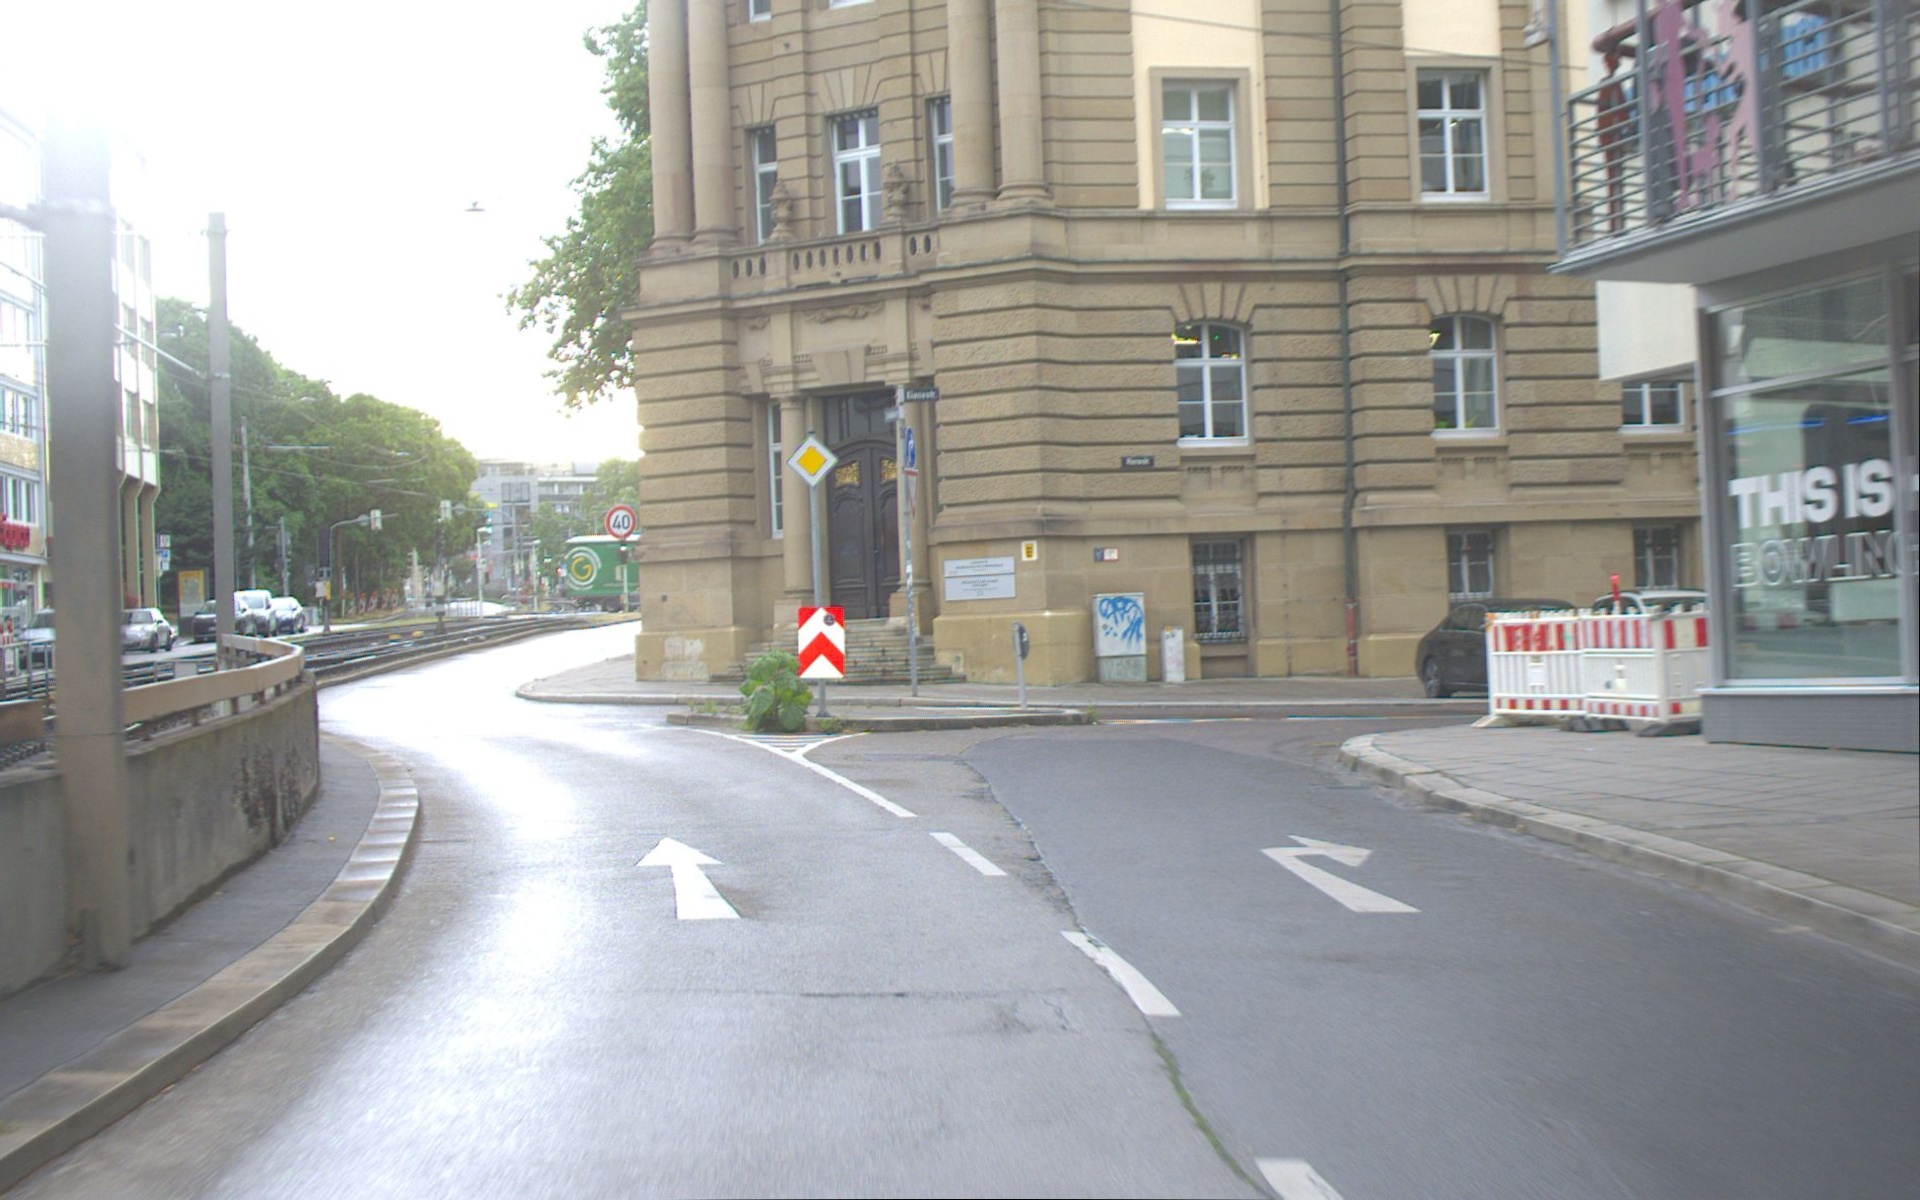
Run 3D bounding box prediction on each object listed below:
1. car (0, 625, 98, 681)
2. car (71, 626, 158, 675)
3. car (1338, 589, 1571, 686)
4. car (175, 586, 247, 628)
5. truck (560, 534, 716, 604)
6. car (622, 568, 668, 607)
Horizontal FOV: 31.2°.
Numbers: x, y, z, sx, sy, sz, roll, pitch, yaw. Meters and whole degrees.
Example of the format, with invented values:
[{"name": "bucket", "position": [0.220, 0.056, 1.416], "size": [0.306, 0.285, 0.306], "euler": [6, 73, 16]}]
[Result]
[{"name": "car", "position": [-25.393, 1.454, 95.748], "size": [1.993, 1.451, 4.312], "euler": [-1, 0, -5]}, {"name": "car", "position": [-26.545, 1.575, 108.030], "size": [1.993, 1.451, 4.312], "euler": [-1, 0, -5]}, {"name": "car", "position": [7.318, 0.533, 51.352], "size": [1.734, 1.363, 5.003], "euler": [-1, 0, -13]}, {"name": "car", "position": [-27.113, 0.253, 124.523], "size": [1.993, 1.451, 4.312], "euler": [-1, 0, -5]}, {"name": "truck", "position": [-16.192, -1.563, 172.571], "size": [7.914, 3.375, 1.997], "euler": [1, 0, 27]}, {"name": "car", "position": [-14.024, -0.555, 153.224], "size": [1.993, 1.656, 4.001], "euler": [-1, 0, -4]}]
